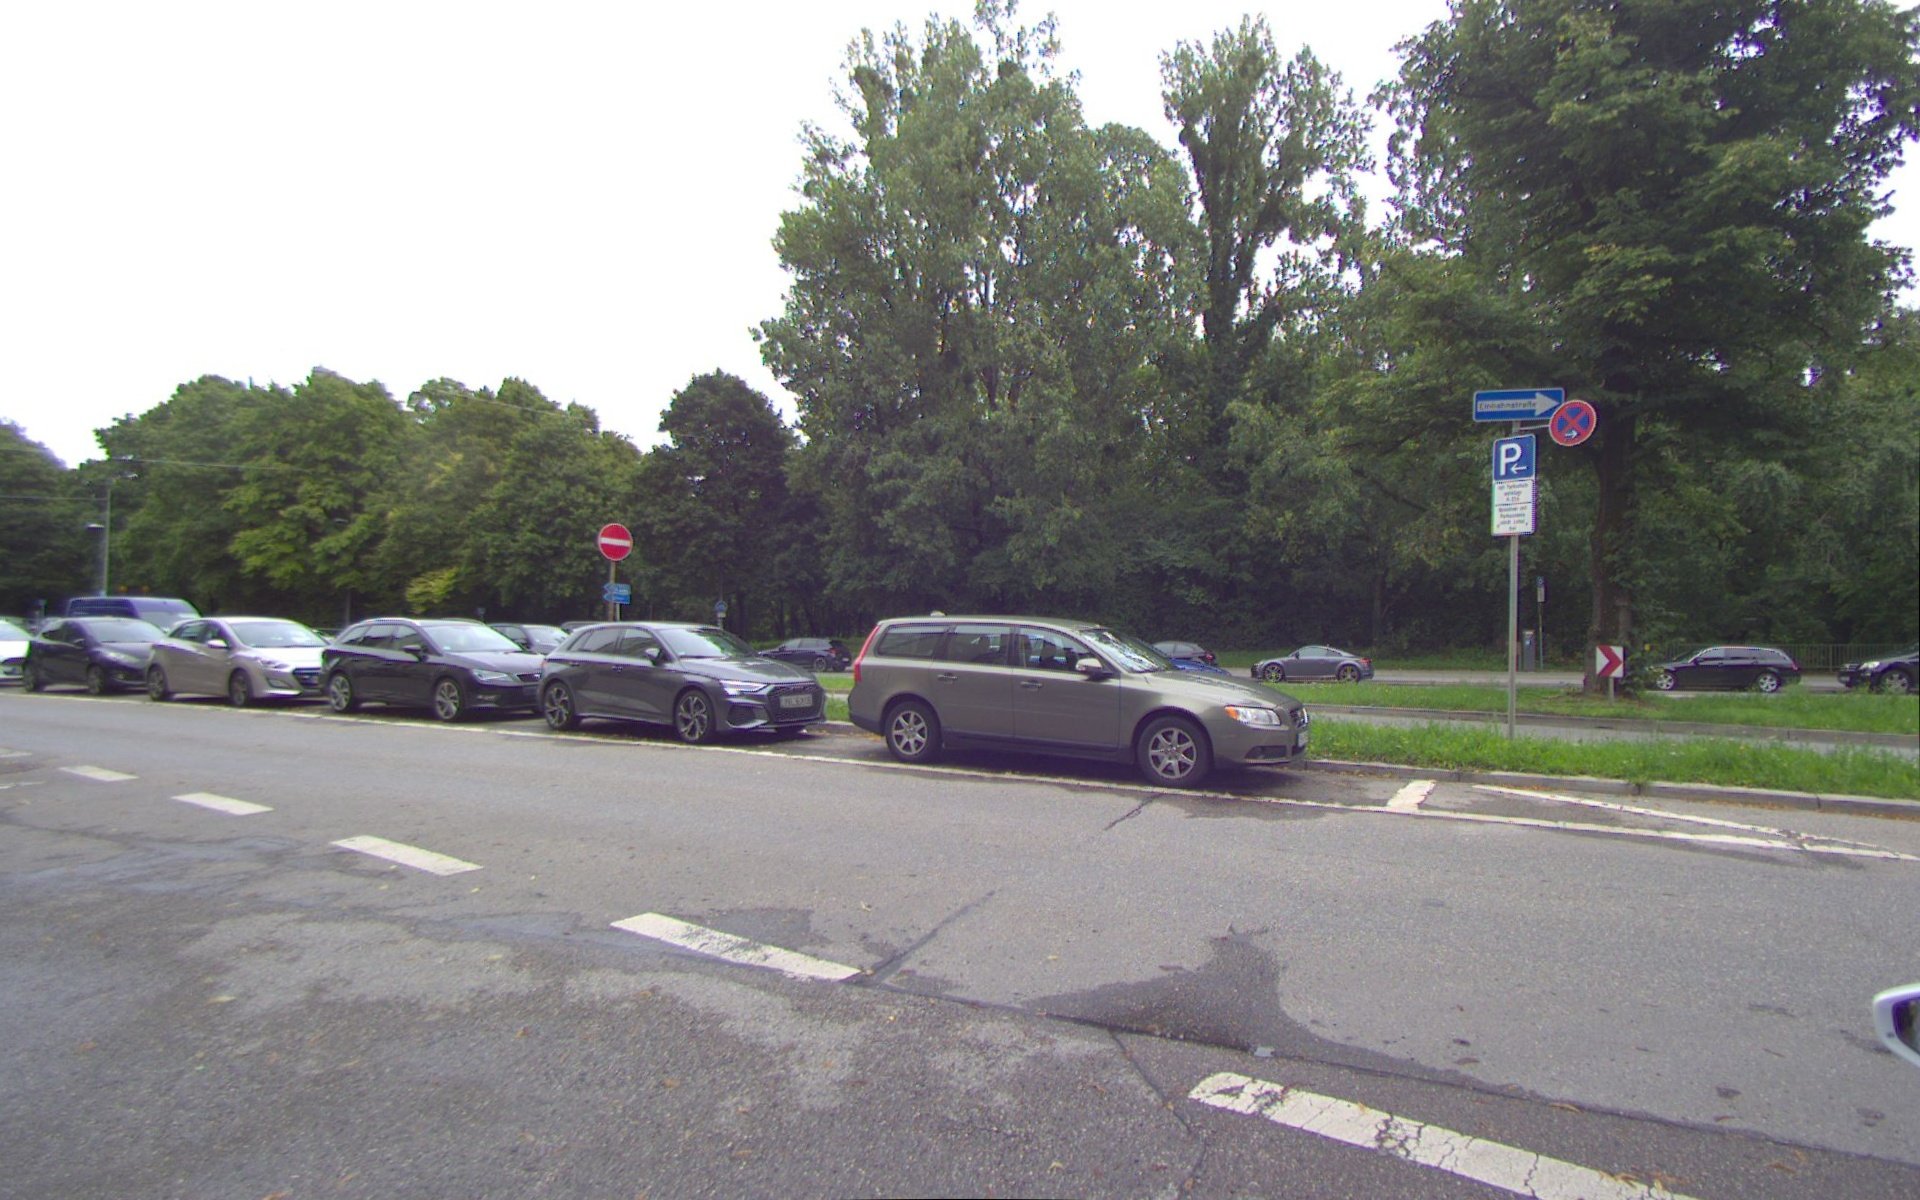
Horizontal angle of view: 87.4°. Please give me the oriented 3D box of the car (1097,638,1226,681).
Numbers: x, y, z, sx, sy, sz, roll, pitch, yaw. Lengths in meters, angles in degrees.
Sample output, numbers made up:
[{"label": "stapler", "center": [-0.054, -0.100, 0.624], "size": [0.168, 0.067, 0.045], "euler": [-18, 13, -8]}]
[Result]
[{"label": "car", "center": [7.533, 2.206, 37.466], "size": [4.437, 1.465, 2.000], "euler": [0, -3, 22]}]

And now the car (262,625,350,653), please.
[{"label": "car", "center": [-36.567, 2.191, 56.161], "size": [4.234, 1.465, 2.000], "euler": [0, -3, 21]}]

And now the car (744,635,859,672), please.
[{"label": "car", "center": [-6.758, 2.269, 42.789], "size": [4.437, 1.465, 2.000], "euler": [0, -3, 22]}]

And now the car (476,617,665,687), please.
[{"label": "car", "center": [-9.950, 1.267, 25.575], "size": [4.744, 1.607, 1.916], "euler": [0, -2, 30]}]

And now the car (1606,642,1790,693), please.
[{"label": "car", "center": [23.183, 2.111, 31.735], "size": [4.231, 1.465, 2.001], "euler": [0, -2, 15]}]

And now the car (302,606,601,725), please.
[{"label": "car", "center": [-7.793, 0.919, 15.371], "size": [4.204, 1.586, 1.991], "euler": [0, -2, 27]}]

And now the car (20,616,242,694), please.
[{"label": "car", "center": [-16.556, 1.045, 20.047], "size": [4.202, 1.388, 1.766], "euler": [0, -2, 25]}]

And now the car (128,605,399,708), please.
[{"label": "car", "center": [-12.050, 0.910, 17.377], "size": [4.202, 1.586, 1.992], "euler": [0, -2, 25]}]

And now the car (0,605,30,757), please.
[{"label": "car", "center": [-12.295, 0.838, 10.660], "size": [4.423, 1.586, 2.129], "euler": [0, -1, 26]}]

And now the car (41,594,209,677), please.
[{"label": "car", "center": [-27.756, 1.117, 33.349], "size": [5.743, 2.496, 2.188], "euler": [1, -1, 27]}]

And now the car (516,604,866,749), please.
[{"label": "car", "center": [-3.501, 0.870, 12.937], "size": [4.207, 1.586, 1.990], "euler": [0, -2, 31]}]

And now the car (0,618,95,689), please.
[{"label": "car", "center": [-21.668, 1.130, 22.338], "size": [4.200, 1.475, 1.993], "euler": [0, -2, 22]}]

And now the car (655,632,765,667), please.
[{"label": "car", "center": [-11.143, 2.204, 44.823], "size": [4.437, 1.465, 2.000], "euler": [0, -3, 22]}]

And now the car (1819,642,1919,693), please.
[{"label": "car", "center": [28.902, 2.012, 29.857], "size": [4.672, 1.465, 2.001], "euler": [0, -2, 15]}]

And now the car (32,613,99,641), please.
[{"label": "car", "center": [-58.482, 1.728, 65.669], "size": [3.924, 1.769, 1.866], "euler": [0, -1, 25]}]

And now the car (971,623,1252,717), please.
[{"label": "car", "center": [2.698, 1.180, 18.187], "size": [4.651, 1.473, 1.990], "euler": [0, -2, 31]}]

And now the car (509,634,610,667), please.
[{"label": "car", "center": [-19.229, 2.416, 48.264], "size": [4.234, 1.465, 2.000], "euler": [0, -3, 21]}]

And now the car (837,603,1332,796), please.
[{"label": "car", "center": [1.187, 0.853, 10.306], "size": [4.686, 1.586, 1.901], "euler": [0, -2, 31]}]

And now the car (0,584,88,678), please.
[{"label": "car", "center": [-22.457, 0.685, 23.136], "size": [3.922, 2.040, 2.000], "euler": [0, -1, 22]}]

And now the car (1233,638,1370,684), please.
[{"label": "car", "center": [12.015, 2.115, 35.370], "size": [4.437, 1.465, 2.000], "euler": [0, -3, 22]}]

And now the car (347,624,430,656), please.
[{"label": "car", "center": [-30.504, 2.102, 53.626], "size": [3.924, 1.578, 1.912], "euler": [1, -1, 24]}]
